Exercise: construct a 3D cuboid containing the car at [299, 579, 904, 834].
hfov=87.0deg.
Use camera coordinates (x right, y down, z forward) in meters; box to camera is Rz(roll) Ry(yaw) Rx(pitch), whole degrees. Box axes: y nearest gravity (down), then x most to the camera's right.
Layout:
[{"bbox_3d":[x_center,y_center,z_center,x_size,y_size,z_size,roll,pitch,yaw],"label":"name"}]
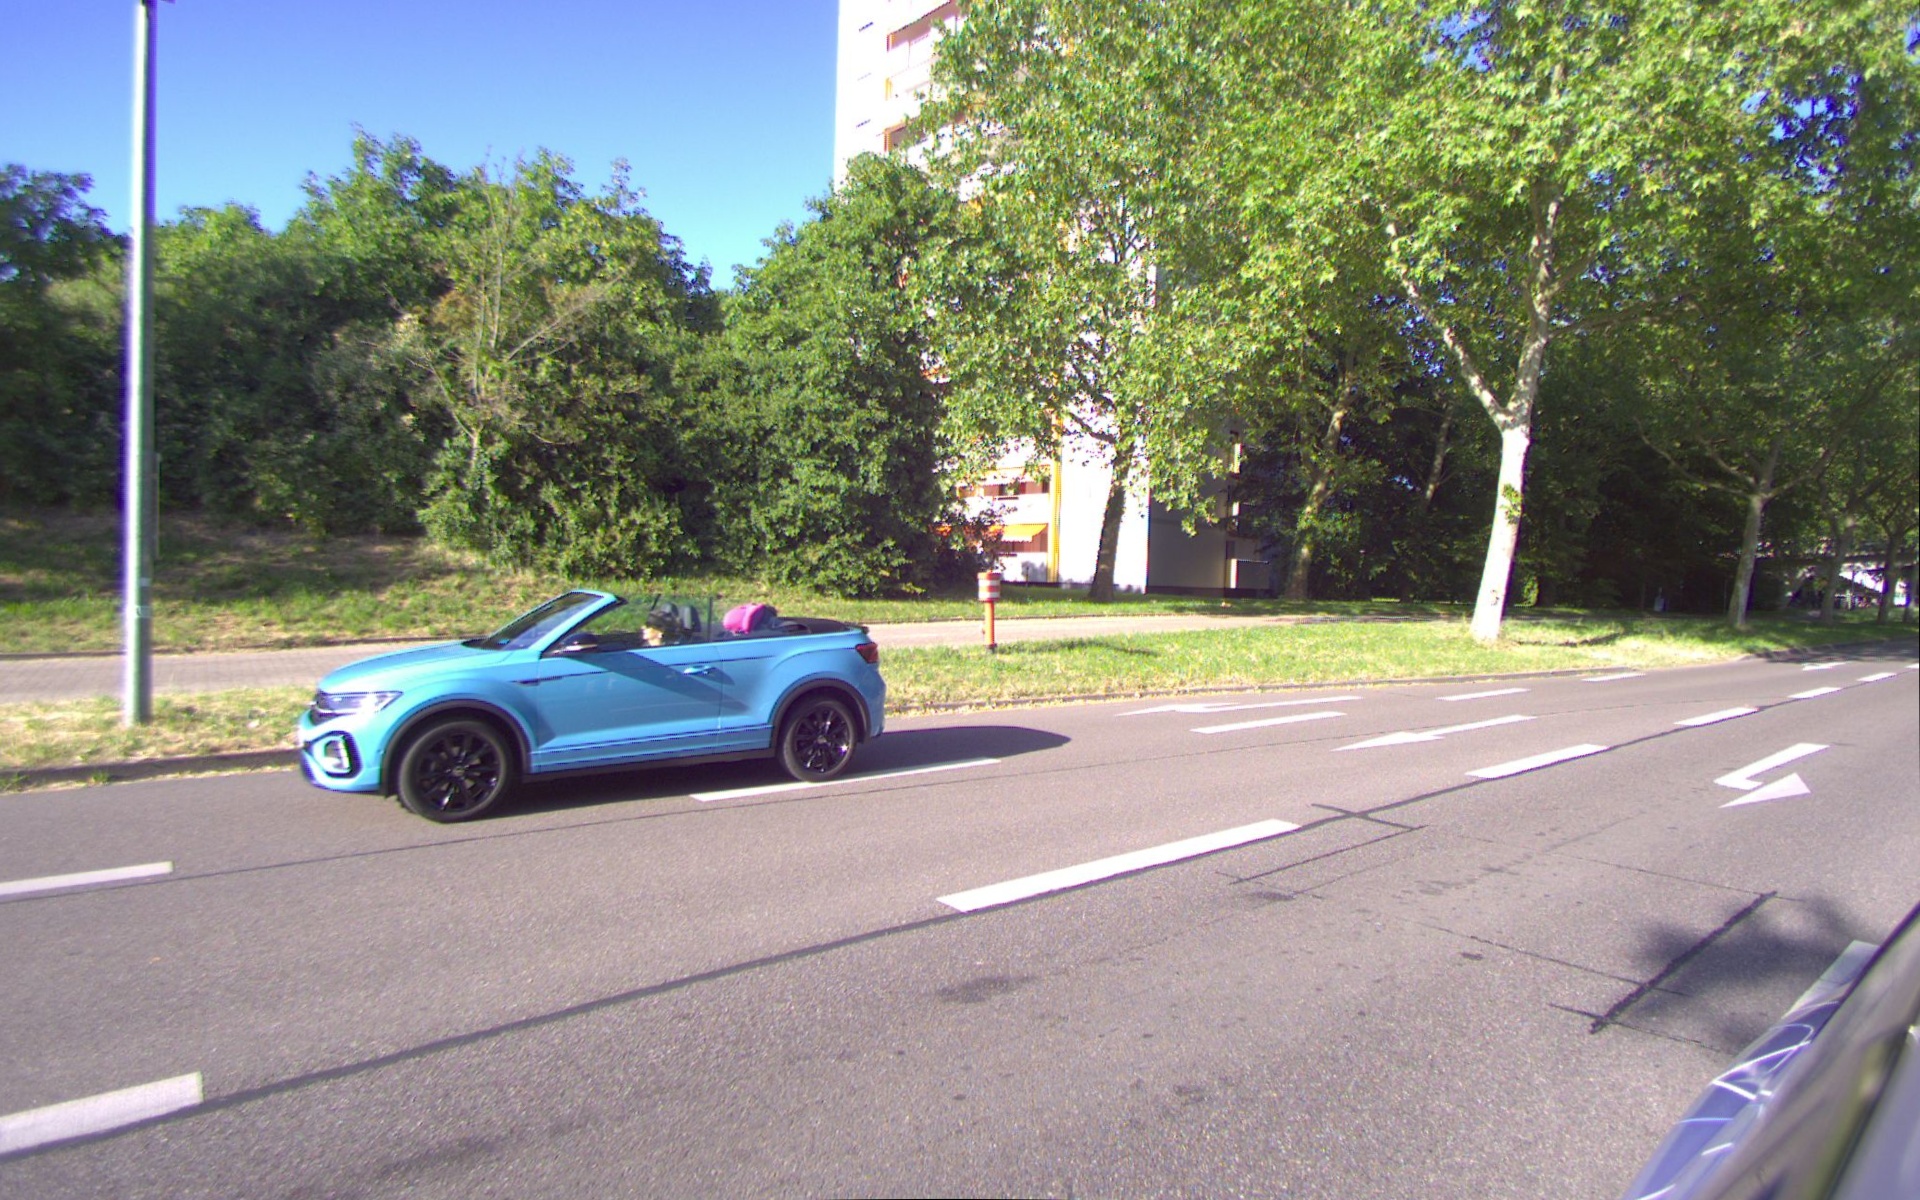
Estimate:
[{"bbox_3d":[-2.604,0.597,7.745,4.053,1.468,1.739,0,1,-36],"label":"car"}]
